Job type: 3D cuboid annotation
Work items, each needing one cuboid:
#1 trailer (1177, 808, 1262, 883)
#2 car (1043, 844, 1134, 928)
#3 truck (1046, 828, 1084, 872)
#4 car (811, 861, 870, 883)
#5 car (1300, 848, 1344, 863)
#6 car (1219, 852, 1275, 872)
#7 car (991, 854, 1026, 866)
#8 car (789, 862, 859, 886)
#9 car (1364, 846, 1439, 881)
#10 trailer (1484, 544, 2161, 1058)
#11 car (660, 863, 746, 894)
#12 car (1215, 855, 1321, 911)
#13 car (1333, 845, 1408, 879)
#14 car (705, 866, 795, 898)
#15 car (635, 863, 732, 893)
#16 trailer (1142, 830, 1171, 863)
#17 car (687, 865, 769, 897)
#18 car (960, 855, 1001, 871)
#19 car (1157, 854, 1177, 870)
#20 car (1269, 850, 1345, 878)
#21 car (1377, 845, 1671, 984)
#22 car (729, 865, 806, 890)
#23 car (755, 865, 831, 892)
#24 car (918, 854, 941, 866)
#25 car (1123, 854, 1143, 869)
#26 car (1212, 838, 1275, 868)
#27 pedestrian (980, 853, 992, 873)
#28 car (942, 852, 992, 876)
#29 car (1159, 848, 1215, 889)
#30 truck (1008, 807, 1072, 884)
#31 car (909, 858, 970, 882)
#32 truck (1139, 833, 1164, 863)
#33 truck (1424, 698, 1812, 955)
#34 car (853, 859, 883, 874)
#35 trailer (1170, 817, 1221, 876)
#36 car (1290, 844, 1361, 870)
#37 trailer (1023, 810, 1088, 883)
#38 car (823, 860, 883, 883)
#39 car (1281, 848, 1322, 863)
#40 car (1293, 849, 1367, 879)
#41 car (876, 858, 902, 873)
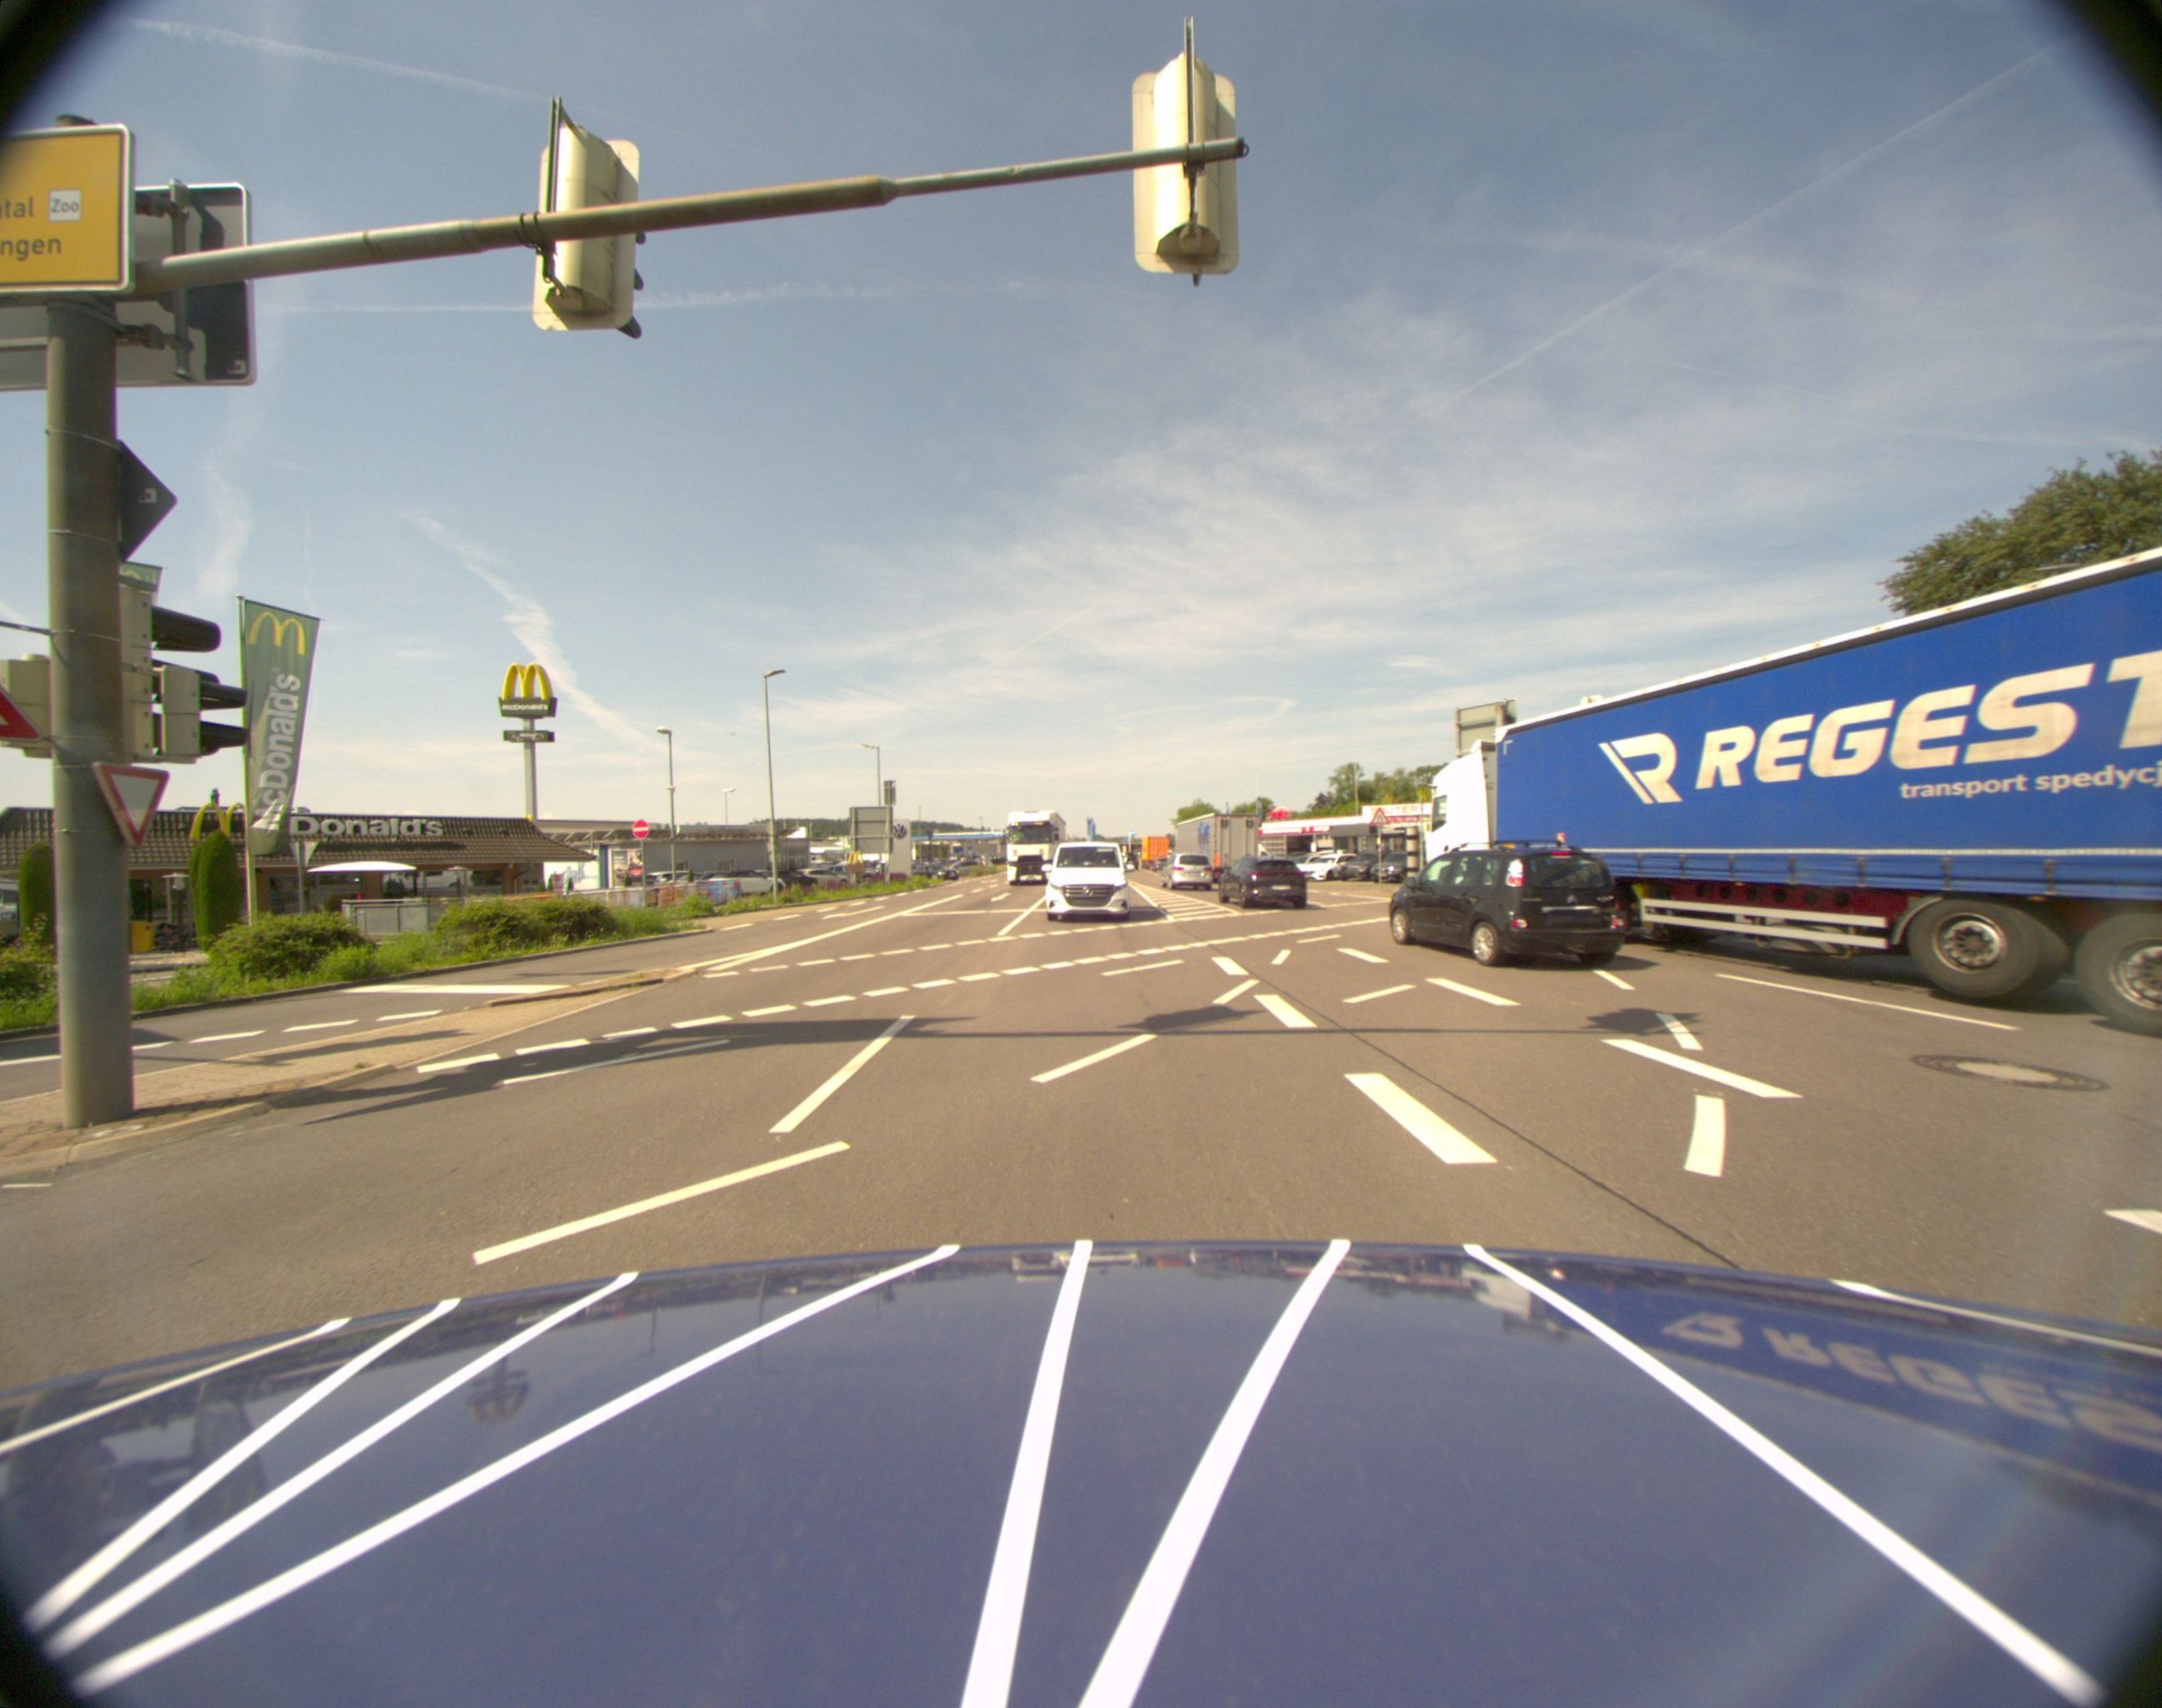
[{"bbox_3d":[8.584,-0.513,49.152,2.699,4.123,13.876,0,0,-1],"label":"trailer"},{"bbox_3d":[0.235,0.699,19.673,1.993,1.858,5.803,0,0,1],"label":"car"},{"bbox_3d":[-1.420,-0.393,73.146,2.646,3.963,9.242,0,0,5],"label":"truck"},{"bbox_3d":[-18.862,1.378,59.619,4.007,1.661,1.916,0,1,-35],"label":"car"},{"bbox_3d":[25.952,0.156,81.823,4.002,1.597,1.986,-1,0,-14],"label":"car"},{"bbox_3d":[13.614,0.634,62.342,4.189,1.613,2.025,0,1,-26],"label":"car"},{"bbox_3d":[-10.020,0.797,105.068,4.544,1.645,1.772,0,1,-25],"label":"car"},{"bbox_3d":[-17.573,1.350,52.109,1.744,1.483,4.273,0,1,37],"label":"car"},{"bbox_3d":[17.717,0.501,41.874,4.750,1.616,1.885,-4,2,-42],"label":"car"},{"bbox_3d":[10.043,-0.438,8.755,3.101,4.056,14.124,0,0,-1],"label":"trailer"},{"bbox_3d":[-22.277,1.405,44.884,1.771,1.661,4.179,0,1,37],"label":"car"},{"bbox_3d":[5.494,0.796,22.971,1.999,1.476,4.453,0,0,-2],"label":"car"},{"bbox_3d":[16.803,0.436,43.947,4.805,1.617,1.927,-4,3,-40],"label":"car"},{"bbox_3d":[-18.347,1.524,42.277,1.855,1.567,4.242,0,1,37],"label":"car"},{"bbox_3d":[-24.086,1.404,46.199,1.907,1.661,4.828,0,1,37],"label":"car"},{"bbox_3d":[9.485,-0.947,96.591,2.727,3.975,12.234,0,0,1],"label":"trailer"},{"bbox_3d":[-20.382,1.508,44.008,1.771,1.661,3.918,0,1,37],"label":"car"},{"bbox_3d":[-10.711,0.951,80.916,4.006,1.549,1.709,0,1,-27],"label":"car"},{"bbox_3d":[8.827,0.794,77.394,1.925,1.593,4.591,1,0,7],"label":"car"},{"bbox_3d":[14.390,0.621,48.336,4.723,1.467,1.888,-4,1,-32],"label":"car"},{"bbox_3d":[6.290,0.741,11.440,1.999,1.716,3.999,0,0,-2],"label":"car"},{"bbox_3d":[-19.988,1.487,48.556,1.791,1.442,4.163,0,1,37],"label":"car"},{"bbox_3d":[-17.942,1.470,47.436,1.771,1.523,4.098,0,1,37],"label":"car"},{"bbox_3d":[-21.185,0.828,106.362,1.774,1.645,4.540,0,0,7],"label":"car"},{"bbox_3d":[5.981,0.848,87.636,1.913,1.593,4.588,1,0,-1],"label":"car"},{"bbox_3d":[15.626,-0.064,73.279,5.721,2.822,2.117,0,0,3],"label":"car"},{"bbox_3d":[-9.267,0.881,74.207,0.990,1.900,0.742,-1,1,-33],"label":"pedestrian"},{"bbox_3d":[-10.808,0.924,71.984,4.355,2.200,1.759,0,1,-28],"label":"car"},{"bbox_3d":[4.862,0.644,35.481,1.848,1.722,4.588,-2,0,-1],"label":"car"},{"bbox_3d":[-2.171,-0.433,42.181,2.646,3.963,6.044,0,0,5],"label":"truck"},{"bbox_3d":[-10.340,1.189,55.317,1.969,1.325,4.804,-7,2,-43],"label":"car"},{"bbox_3d":[9.549,-0.835,103.623,2.728,3.975,6.056,0,1,-1],"label":"truck"},{"bbox_3d":[9.936,-0.451,15.198,3.196,4.056,6.344,0,0,-1],"label":"truck"},{"bbox_3d":[-24.952,1.414,89.134,1.774,1.645,4.540,0,0,6],"label":"car"},{"bbox_3d":[8.388,-0.538,56.278,2.652,4.081,6.179,0,0,-2],"label":"trailer"},{"bbox_3d":[17.581,0.258,54.808,1.896,1.738,4.457,-2,0,-42],"label":"car"},{"bbox_3d":[-1.442,-0.466,49.276,2.612,4.203,11.297,0,0,6],"label":"trailer"},{"bbox_3d":[-17.341,1.304,57.792,4.031,1.661,1.772,0,1,-29],"label":"car"},{"bbox_3d":[24.617,0.171,84.747,4.002,1.610,1.873,-1,0,-16],"label":"car"},{"bbox_3d":[15.036,0.576,45.764,4.724,1.504,1.950,-4,2,-39],"label":"car"},{"bbox_3d":[-22.030,1.280,87.328,1.968,1.645,4.537,0,0,-2],"label":"car"}]
